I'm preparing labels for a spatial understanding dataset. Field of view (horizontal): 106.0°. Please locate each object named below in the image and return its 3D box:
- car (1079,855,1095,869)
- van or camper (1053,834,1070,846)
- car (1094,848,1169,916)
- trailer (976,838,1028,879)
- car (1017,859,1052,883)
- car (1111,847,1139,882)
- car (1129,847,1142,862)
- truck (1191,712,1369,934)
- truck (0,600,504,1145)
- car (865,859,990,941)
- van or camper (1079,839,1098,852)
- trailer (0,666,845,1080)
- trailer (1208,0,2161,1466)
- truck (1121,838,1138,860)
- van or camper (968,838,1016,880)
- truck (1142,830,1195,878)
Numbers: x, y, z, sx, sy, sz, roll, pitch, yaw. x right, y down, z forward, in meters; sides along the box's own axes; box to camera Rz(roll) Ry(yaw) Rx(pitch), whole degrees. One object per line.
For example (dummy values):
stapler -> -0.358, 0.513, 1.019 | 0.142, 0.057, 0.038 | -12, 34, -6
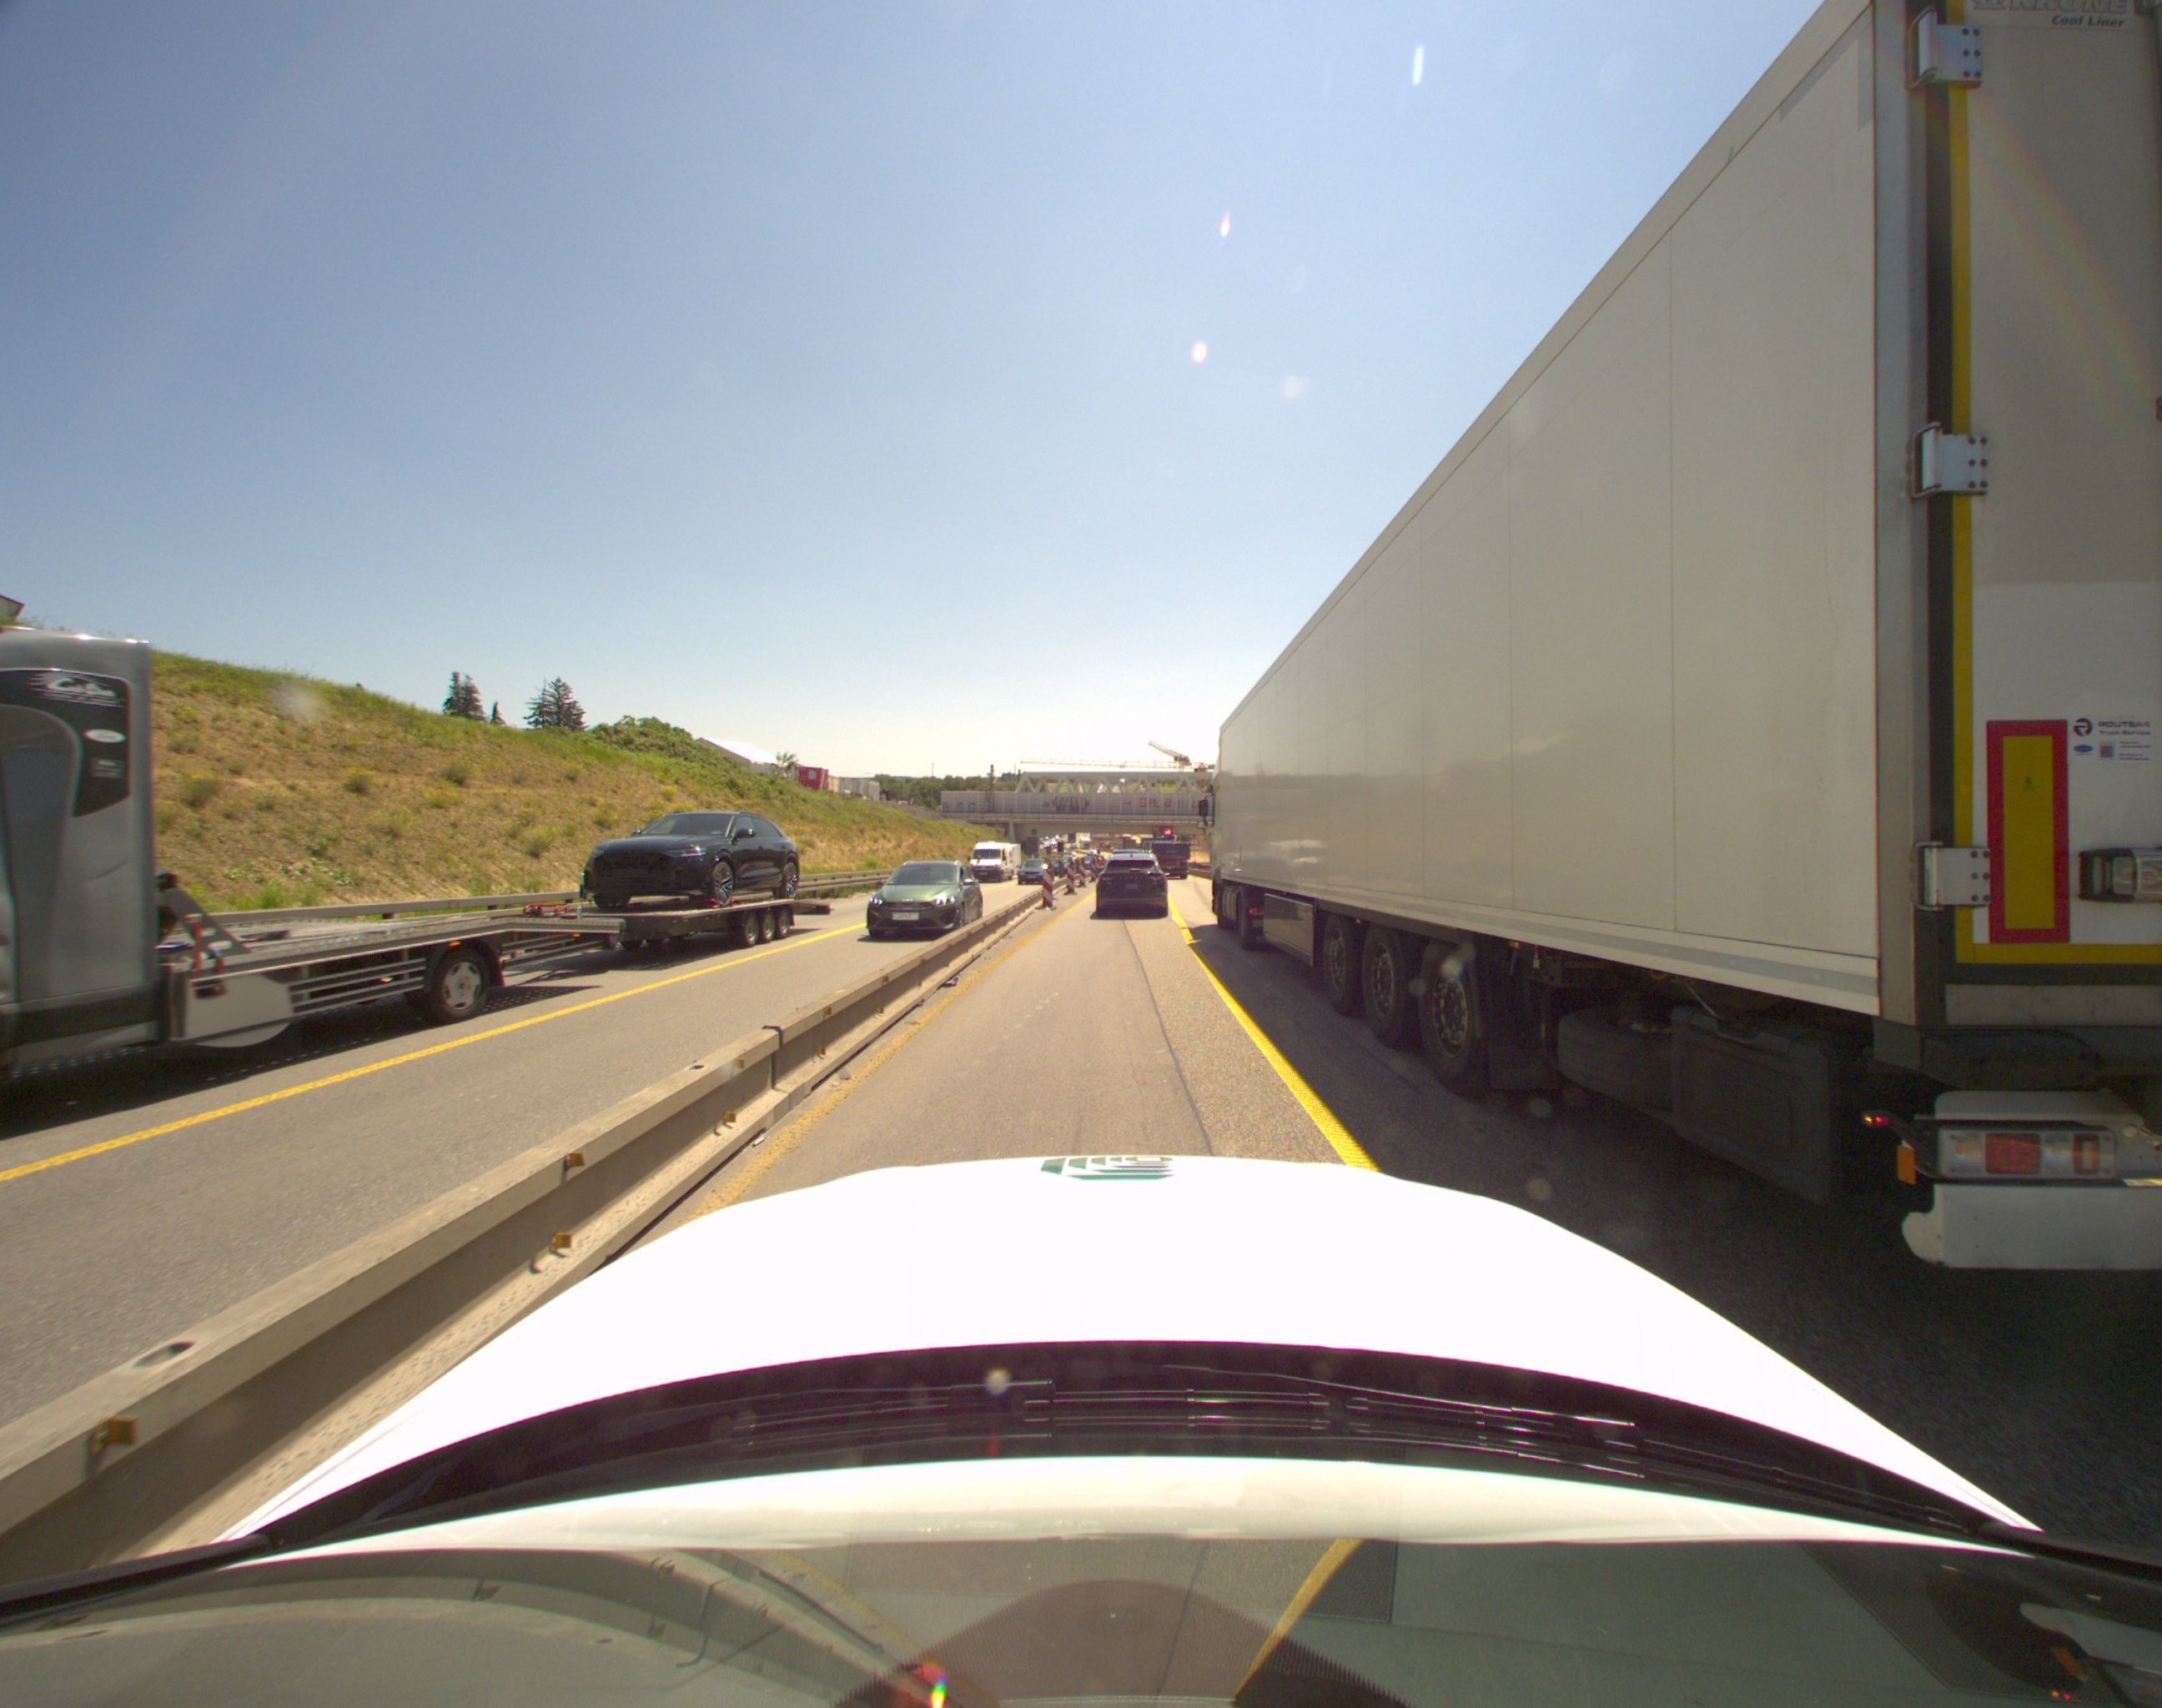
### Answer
car -> 0.625, 0.795, 83.223 | 1.495, 1.420, 3.178 | -1, 0, 3
van or camper -> -6.081, -4.393, 256.422 | 3.946, 3.419, 8.371 | 0, 1, -12
car -> 1.270, 0.676, 21.388 | 1.794, 1.620, 3.298 | -1, 0, 1
trailer -> -5.151, 0.303, 54.343 | 2.207, 2.481, 8.532 | 0, 0, 3
car -> -2.575, 0.934, 45.493 | 1.603, 1.276, 3.169 | 0, 0, 3
car -> 2.441, 0.547, 45.181 | 1.468, 1.795, 3.300 | 2, 0, 3
car -> 8.179, 0.047, 121.606 | 1.656, 2.269, 3.795 | 1, 0, -1
truck -> 3.987, -0.574, 17.436 | 2.766, 4.058, 4.907 | -1, 0, 2
truck -> -6.835, 0.106, 5.030 | 2.260, 2.882, 5.852 | -1, 0, 1
car -> -3.031, 0.853, 16.901 | 1.659, 1.428, 4.002 | -1, 0, 2
van or camper -> 1.990, -2.444, 231.032 | 3.943, 3.419, 8.379 | 0, 1, -10
trailer -> -6.709, 0.132, 12.215 | 2.260, 2.882, 13.045 | -1, 0, 1
trailer -> 3.612, -0.577, 8.998 | 2.790, 4.058, 14.125 | -1, 0, 2
truck -> 9.531, -0.934, 161.218 | 3.164, 4.318, 9.261 | -1, 0, 2
van or camper -> -5.366, 0.302, 49.946 | 2.207, 2.481, 4.754 | 0, 0, 3
truck -> 6.235, -0.036, 60.064 | 2.804, 3.135, 12.842 | -1, 0, 2
